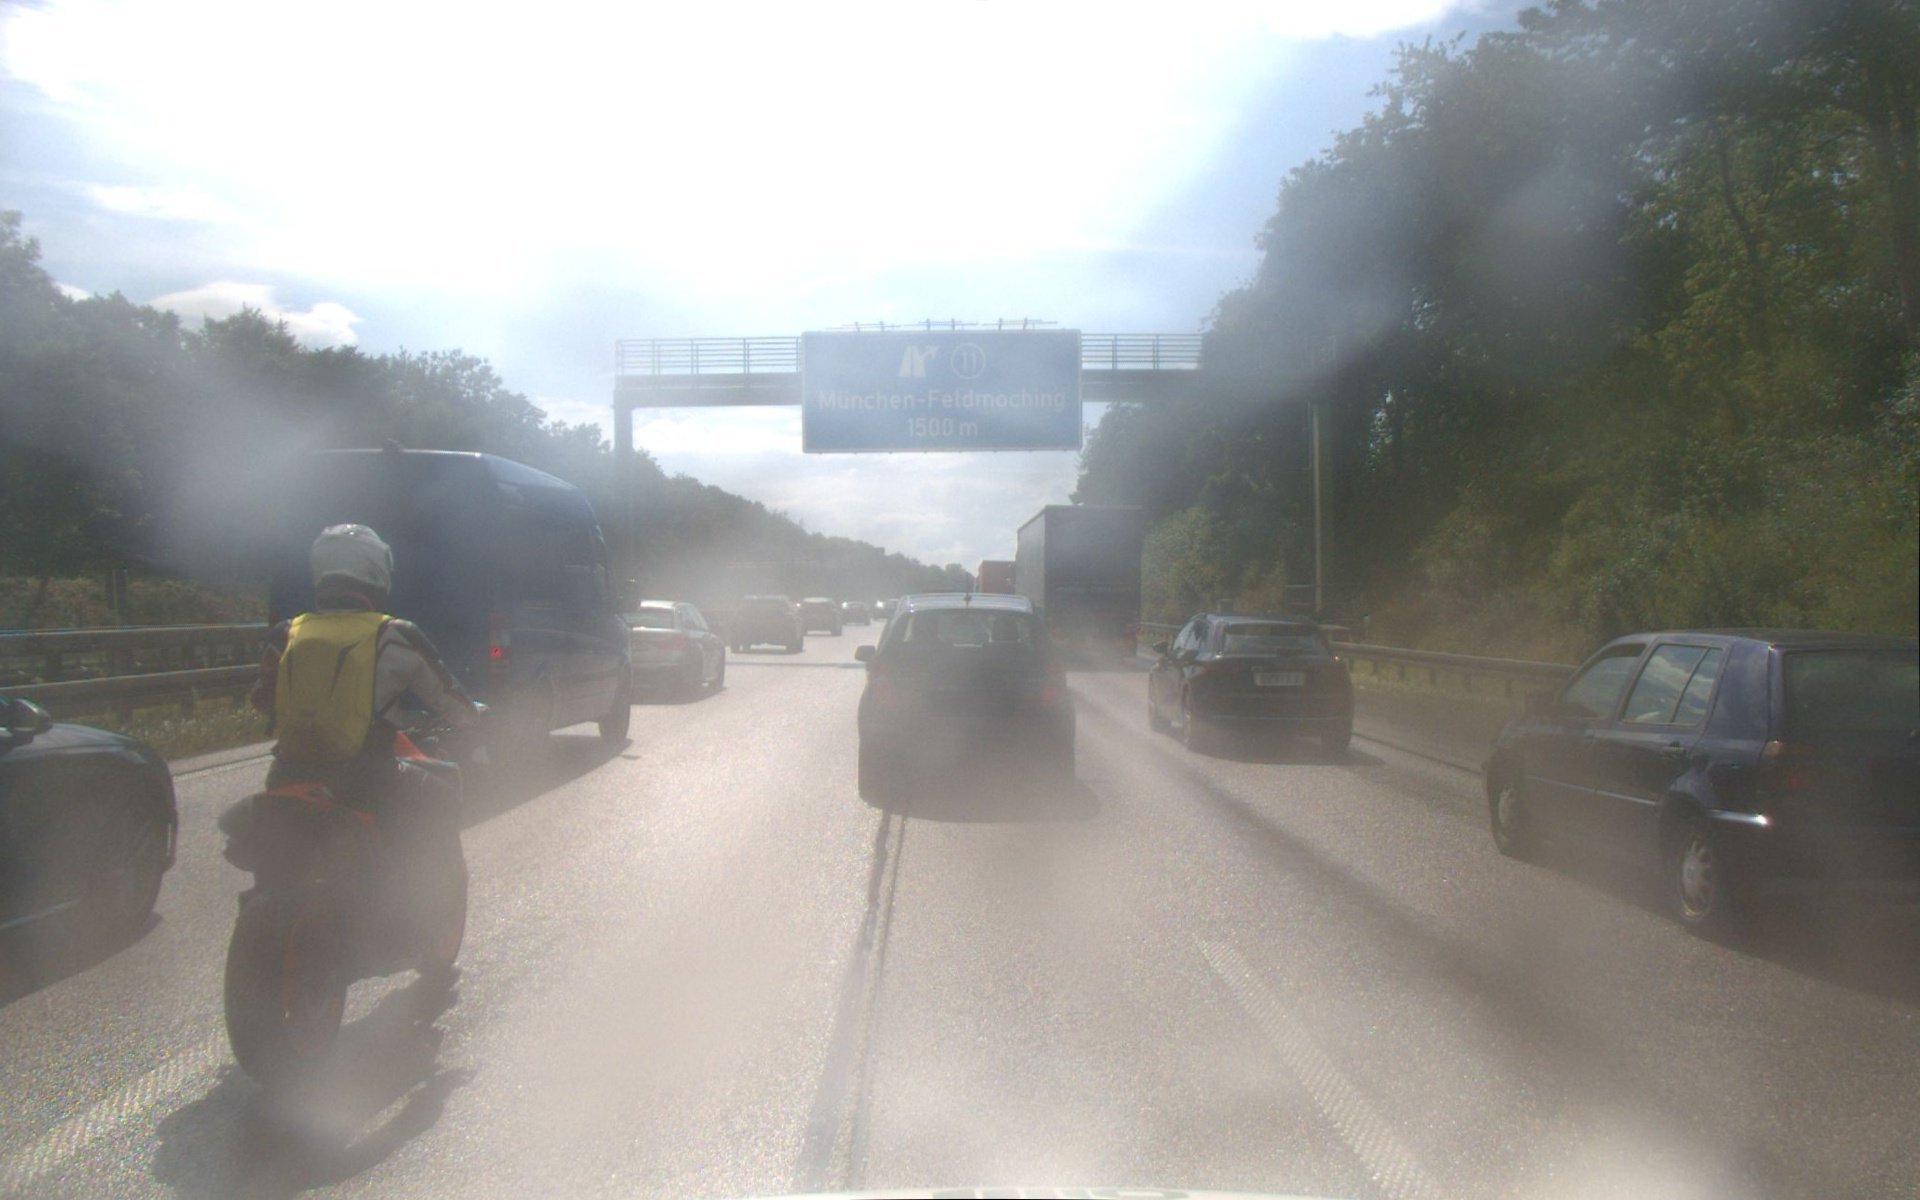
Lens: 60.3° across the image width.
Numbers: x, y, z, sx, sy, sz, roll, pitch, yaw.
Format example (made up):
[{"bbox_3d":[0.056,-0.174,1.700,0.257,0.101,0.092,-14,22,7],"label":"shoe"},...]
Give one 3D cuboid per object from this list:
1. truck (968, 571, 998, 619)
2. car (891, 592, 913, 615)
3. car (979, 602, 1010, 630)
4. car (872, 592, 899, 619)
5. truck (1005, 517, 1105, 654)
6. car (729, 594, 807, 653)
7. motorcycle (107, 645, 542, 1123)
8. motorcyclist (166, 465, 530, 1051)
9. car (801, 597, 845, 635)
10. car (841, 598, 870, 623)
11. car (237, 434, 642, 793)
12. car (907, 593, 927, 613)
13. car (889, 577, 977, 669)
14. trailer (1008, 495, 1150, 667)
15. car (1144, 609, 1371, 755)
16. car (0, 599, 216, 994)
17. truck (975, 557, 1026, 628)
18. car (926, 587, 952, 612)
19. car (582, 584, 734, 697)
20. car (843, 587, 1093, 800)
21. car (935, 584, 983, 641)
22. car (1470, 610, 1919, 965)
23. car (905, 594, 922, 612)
[{"bbox_3d":[2.332,-0.452,174.318,2.823,4.770,12.656,1,-1,0],"label":"truck"},{"bbox_3d":[-5.366,0.350,153.034,1.953,2.049,3.999,1,-1,-1],"label":"car"},{"bbox_3d":[1.976,0.898,94.693,1.641,1.516,3.436,1,0,-1],"label":"car"},{"bbox_3d":[-5.824,0.465,129.328,1.953,2.049,3.999,1,-1,-1],"label":"car"},{"bbox_3d":[3.168,-0.463,56.657,2.990,4.401,5.885,1,0,-1],"label":"truck"},{"bbox_3d":[-5.627,0.667,48.952,1.854,1.656,4.194,1,0,-1],"label":"car"},{"bbox_3d":[-2.059,0.831,5.734,0.803,1.285,2.116,1,0,-4],"label":"motorcycle"},{"bbox_3d":[-2.063,0.493,5.792,0.805,1.791,1.389,1,-1,-4],"label":"motorcyclist"},{"bbox_3d":[-5.992,0.694,72.584,1.641,1.625,3.436,1,0,-1],"label":"car"},{"bbox_3d":[-6.550,0.640,103.991,1.641,1.516,3.436,1,0,-1],"label":"car"},{"bbox_3d":[-4.481,0.114,15.386,1.974,2.695,5.775,1,0,-1],"label":"car"},{"bbox_3d":[-4.570,0.327,176.044,1.953,2.049,3.999,1,-1,-1],"label":"car"},{"bbox_3d":[-0.643,0.546,39.417,1.953,2.049,3.999,1,-1,-1],"label":"car"},{"bbox_3d":[3.266,-0.466,49.406,3.025,4.388,14.102,1,0,-1],"label":"trailer"},{"bbox_3d":[3.203,0.829,18.619,1.719,1.421,4.367,1,0,-1],"label":"car"},{"bbox_3d":[-4.324,0.709,5.525,1.684,1.436,4.467,1,0,-1],"label":"car"},{"bbox_3d":[2.642,-0.478,110.561,3.136,4.481,9.431,1,0,0],"label":"truck"},{"bbox_3d":[-1.299,-0.026,103.053,1.598,1.516,3.436,1,0,-1],"label":"car"},{"bbox_3d":[-4.729,0.605,26.436,1.723,1.622,4.329,1,0,-2],"label":"car"},{"bbox_3d":[0.035,0.713,14.648,1.876,1.592,4.313,1,0,-1],"label":"car"},{"bbox_3d":[-0.062,0.435,59.673,1.641,1.970,3.772,1,0,-1],"label":"car"},{"bbox_3d":[4.171,0.803,8.870,1.617,1.481,3.743,0,0,-2],"label":"car"},{"bbox_3d":[-5.520,0.360,196.419,1.953,2.049,3.999,1,-1,-1],"label":"car"}]
